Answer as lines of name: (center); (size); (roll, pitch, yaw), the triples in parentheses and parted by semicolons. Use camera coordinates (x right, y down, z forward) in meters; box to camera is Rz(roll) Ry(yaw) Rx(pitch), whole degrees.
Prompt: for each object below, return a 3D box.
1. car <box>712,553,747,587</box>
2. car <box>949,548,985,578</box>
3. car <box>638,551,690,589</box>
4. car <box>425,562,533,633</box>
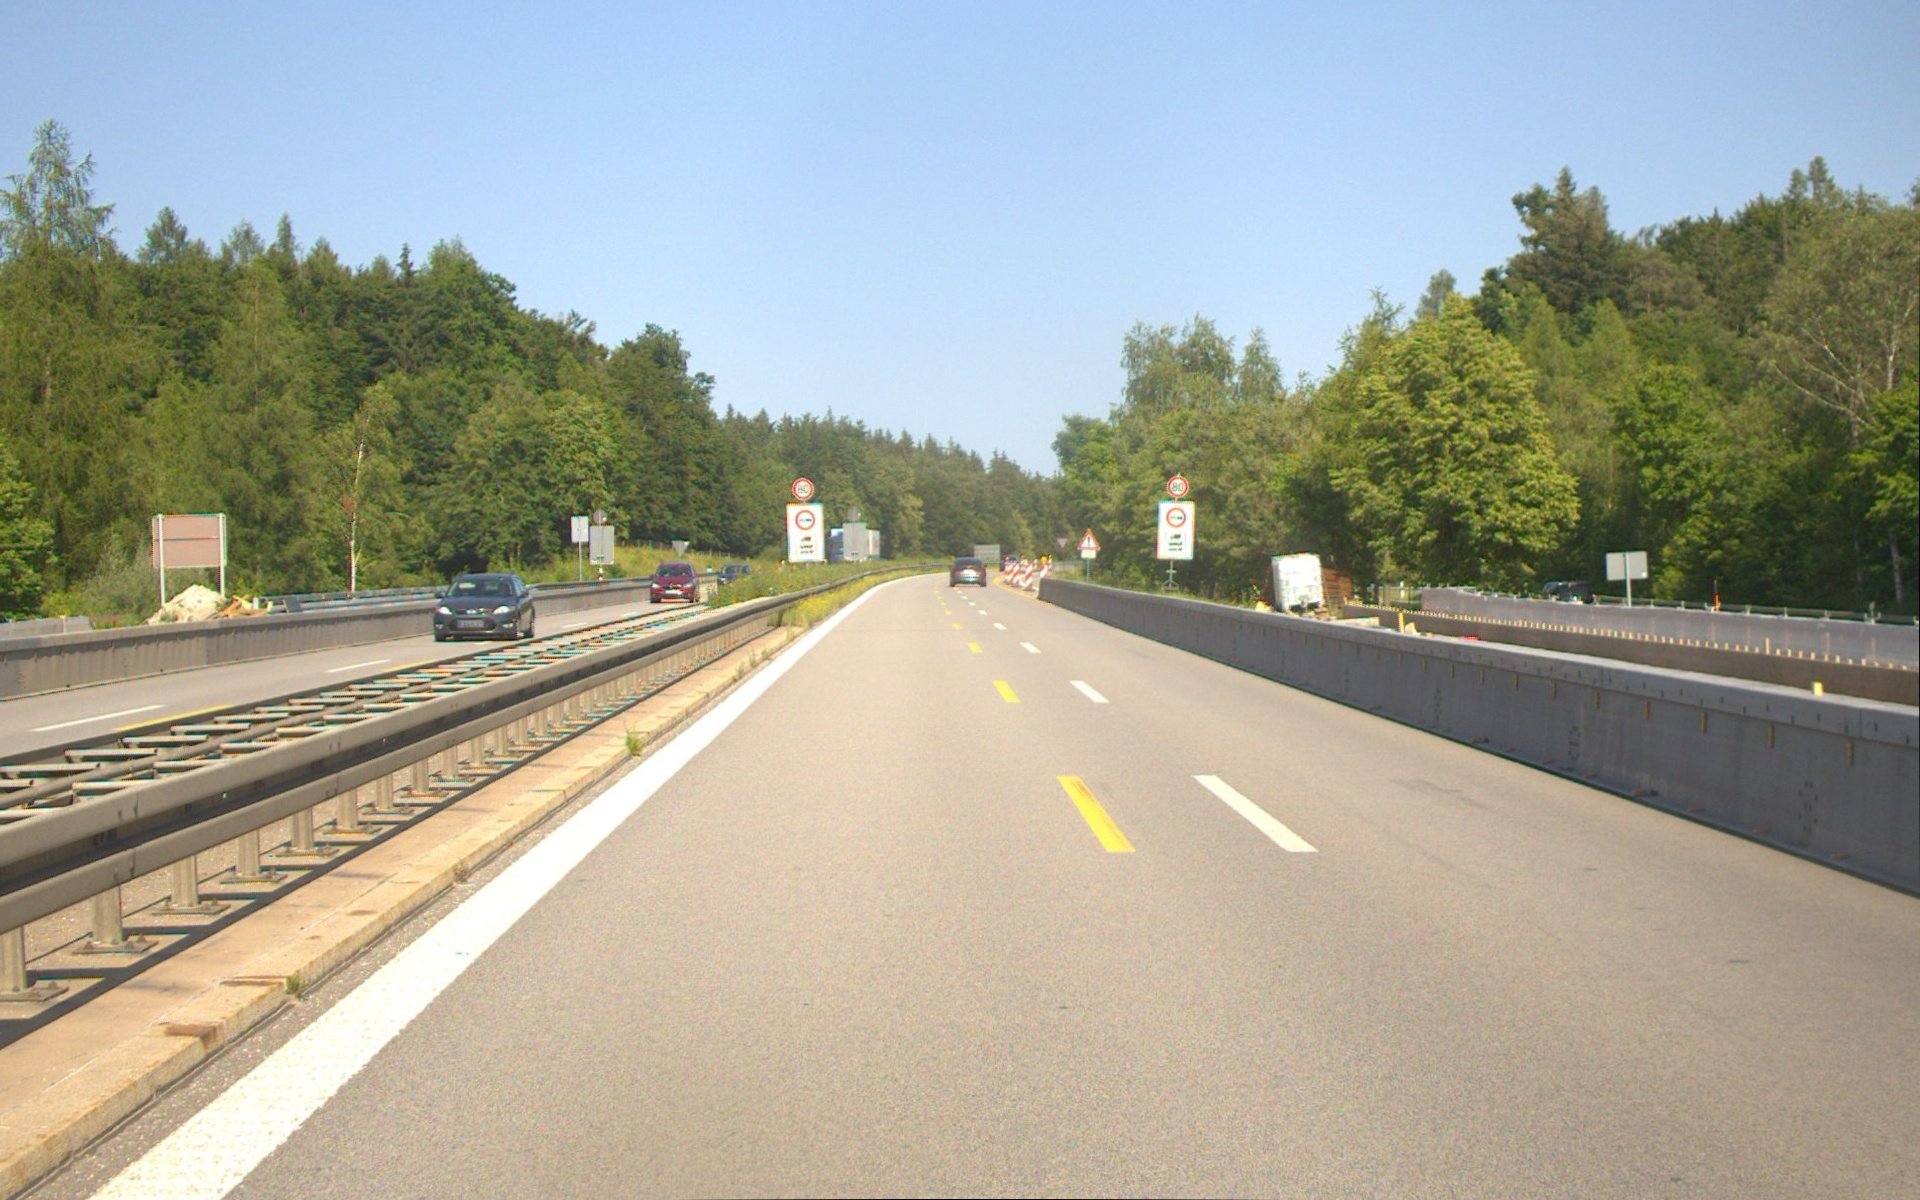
car: (-12.023, -1.552, 179.371); (1.527, 1.557, 3.454); (-3, -1, -1)
car: (0.337, -1.856, 172.559); (1.744, 1.461, 4.294); (-1, 1, -1)
car: (-11.641, -1.195, 135.413); (1.744, 1.461, 4.294); (-1, 1, -1)
car: (-10.599, -0.089, 75.987); (1.744, 1.461, 4.910); (-1, 1, -1)
